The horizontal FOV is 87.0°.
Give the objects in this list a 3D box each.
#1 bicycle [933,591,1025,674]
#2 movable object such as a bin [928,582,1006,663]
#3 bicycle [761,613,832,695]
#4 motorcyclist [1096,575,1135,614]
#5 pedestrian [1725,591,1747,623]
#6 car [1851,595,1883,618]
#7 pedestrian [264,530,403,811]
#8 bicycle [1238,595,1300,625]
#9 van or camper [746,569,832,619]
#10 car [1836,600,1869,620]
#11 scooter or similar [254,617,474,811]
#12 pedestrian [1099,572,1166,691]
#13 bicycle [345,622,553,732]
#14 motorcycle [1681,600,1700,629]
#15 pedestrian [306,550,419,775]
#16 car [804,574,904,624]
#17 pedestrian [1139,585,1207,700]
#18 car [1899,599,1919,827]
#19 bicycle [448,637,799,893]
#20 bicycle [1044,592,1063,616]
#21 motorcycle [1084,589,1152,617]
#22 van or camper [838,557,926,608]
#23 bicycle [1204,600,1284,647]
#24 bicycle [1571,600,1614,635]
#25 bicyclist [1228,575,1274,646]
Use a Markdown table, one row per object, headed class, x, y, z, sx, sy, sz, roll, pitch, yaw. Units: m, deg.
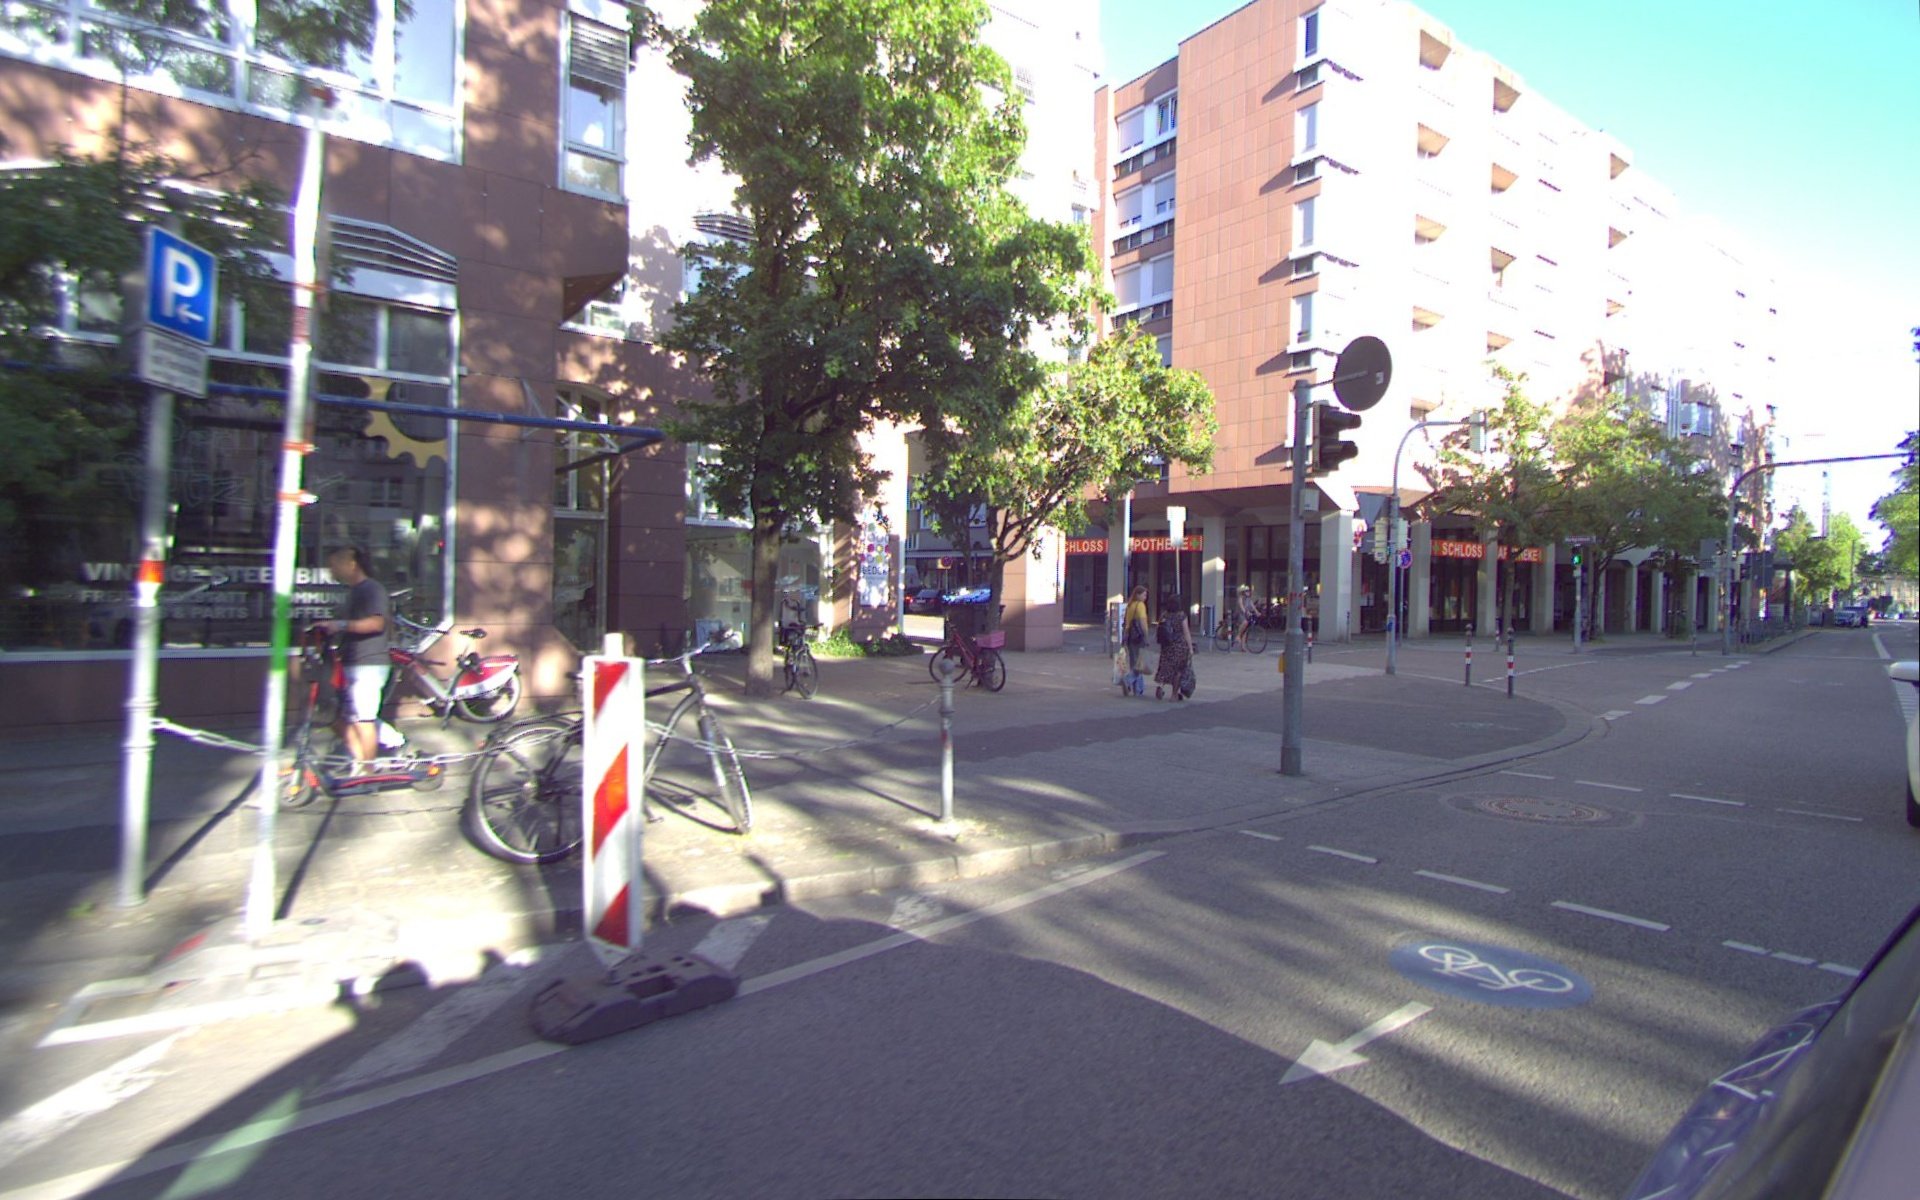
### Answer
| class | x | y | z | sx | sy | sz | roll | pitch | yaw |
| --- | --- | --- | --- | --- | --- | --- | --- | --- | --- |
| bicycle | 0.288 | 0.495 | 16.230 | 0.567 | 1.242 | 1.570 | 0 | 1 | -40 |
| movable object such as a bin | 0.122 | 0.415 | 19.759 | 0.855 | 1.500 | 1.415 | 0 | 1 | -35 |
| bicycle | -2.403 | 0.749 | 14.727 | 0.724 | 1.066 | 1.756 | 1 | 1 | -19 |
| motorcyclist | 7.002 | -0.253 | 45.492 | 1.312 | 1.710 | 1.172 | -1 | 0 | -43 |
| pedestrian | 42.979 | 0.393 | 56.066 | 0.821 | 1.760 | 0.783 | 1 | 1 | -38 |
| car | 83.400 | 0.602 | 93.062 | 2.037 | 1.967 | 5.119 | 4 | 3 | 41 |
| pedestrian | -4.283 | 0.437 | 6.911 | 0.785 | 1.785 | 0.600 | 1 | 1 | 42 |
| bicycle | 12.289 | 0.374 | 40.337 | 0.582 | 1.108 | 2.449 | 0 | 1 | -37 |
| van or camper | -7.217 | -0.304 | 42.367 | 1.767 | 1.997 | 4.577 | 0 | 1 | -35 |
| car | 74.078 | 0.810 | 83.976 | 4.178 | 1.502 | 1.704 | 0 | 2 | -44 |
| scooter or similar | -4.005 | 0.718 | 6.846 | 1.227 | 1.172 | 0.395 | 0 | 1 | -41 |
| pedestrian | 2.641 | 0.458 | 15.507 | 0.700 | 1.755 | 0.756 | 1 | 1 | 43 |
| bicycle | -5.066 | 0.721 | 10.097 | 1.722 | 0.951 | 0.738 | 0 | 1 | -43 |
| motorcycle | 36.122 | 0.692 | 50.066 | 0.488 | 1.389 | 2.058 | 1 | 1 | 43 |
| pedestrian | -4.734 | 0.464 | 8.021 | 0.459 | 1.693 | 0.669 | 1 | 1 | 44 |
| car | -4.013 | -0.084 | 37.794 | 1.768 | 1.743 | 4.196 | 0 | 1 | -38 |
| pedestrian | 3.101 | 0.592 | 14.715 | 0.735 | 1.598 | 0.645 | 0 | 1 | -43 |
| car | 8.302 | 0.731 | 7.429 | 4.349 | 1.470 | 1.718 | 1 | -2 | -43 |
| bicycle | -1.747 | 0.783 | 5.515 | 0.734 | 1.066 | 1.731 | 1 | 1 | 34 |
| bicycle | 4.188 | 0.160 | 45.396 | 0.600 | 1.032 | 1.319 | 1 | 1 | -7 |
| motorcycle | 7.050 | 0.118 | 45.398 | 1.326 | 1.193 | 2.823 | 0 | 1 | -42 |
| van or camper | -4.426 | -1.037 | 58.790 | 2.333 | 2.801 | 6.401 | 1 | 1 | 24 |
| bicycle | 7.384 | 0.577 | 26.361 | 0.789 | 1.127 | 1.920 | 0 | 1 | -38 |
| bicycle | 23.078 | 0.641 | 36.901 | 1.889 | 1.241 | 0.624 | 0 | 1 | -34 |
| bicyclist | 7.522 | 0.251 | 26.183 | 0.774 | 1.792 | 0.827 | 0 | 1 | -38 |
